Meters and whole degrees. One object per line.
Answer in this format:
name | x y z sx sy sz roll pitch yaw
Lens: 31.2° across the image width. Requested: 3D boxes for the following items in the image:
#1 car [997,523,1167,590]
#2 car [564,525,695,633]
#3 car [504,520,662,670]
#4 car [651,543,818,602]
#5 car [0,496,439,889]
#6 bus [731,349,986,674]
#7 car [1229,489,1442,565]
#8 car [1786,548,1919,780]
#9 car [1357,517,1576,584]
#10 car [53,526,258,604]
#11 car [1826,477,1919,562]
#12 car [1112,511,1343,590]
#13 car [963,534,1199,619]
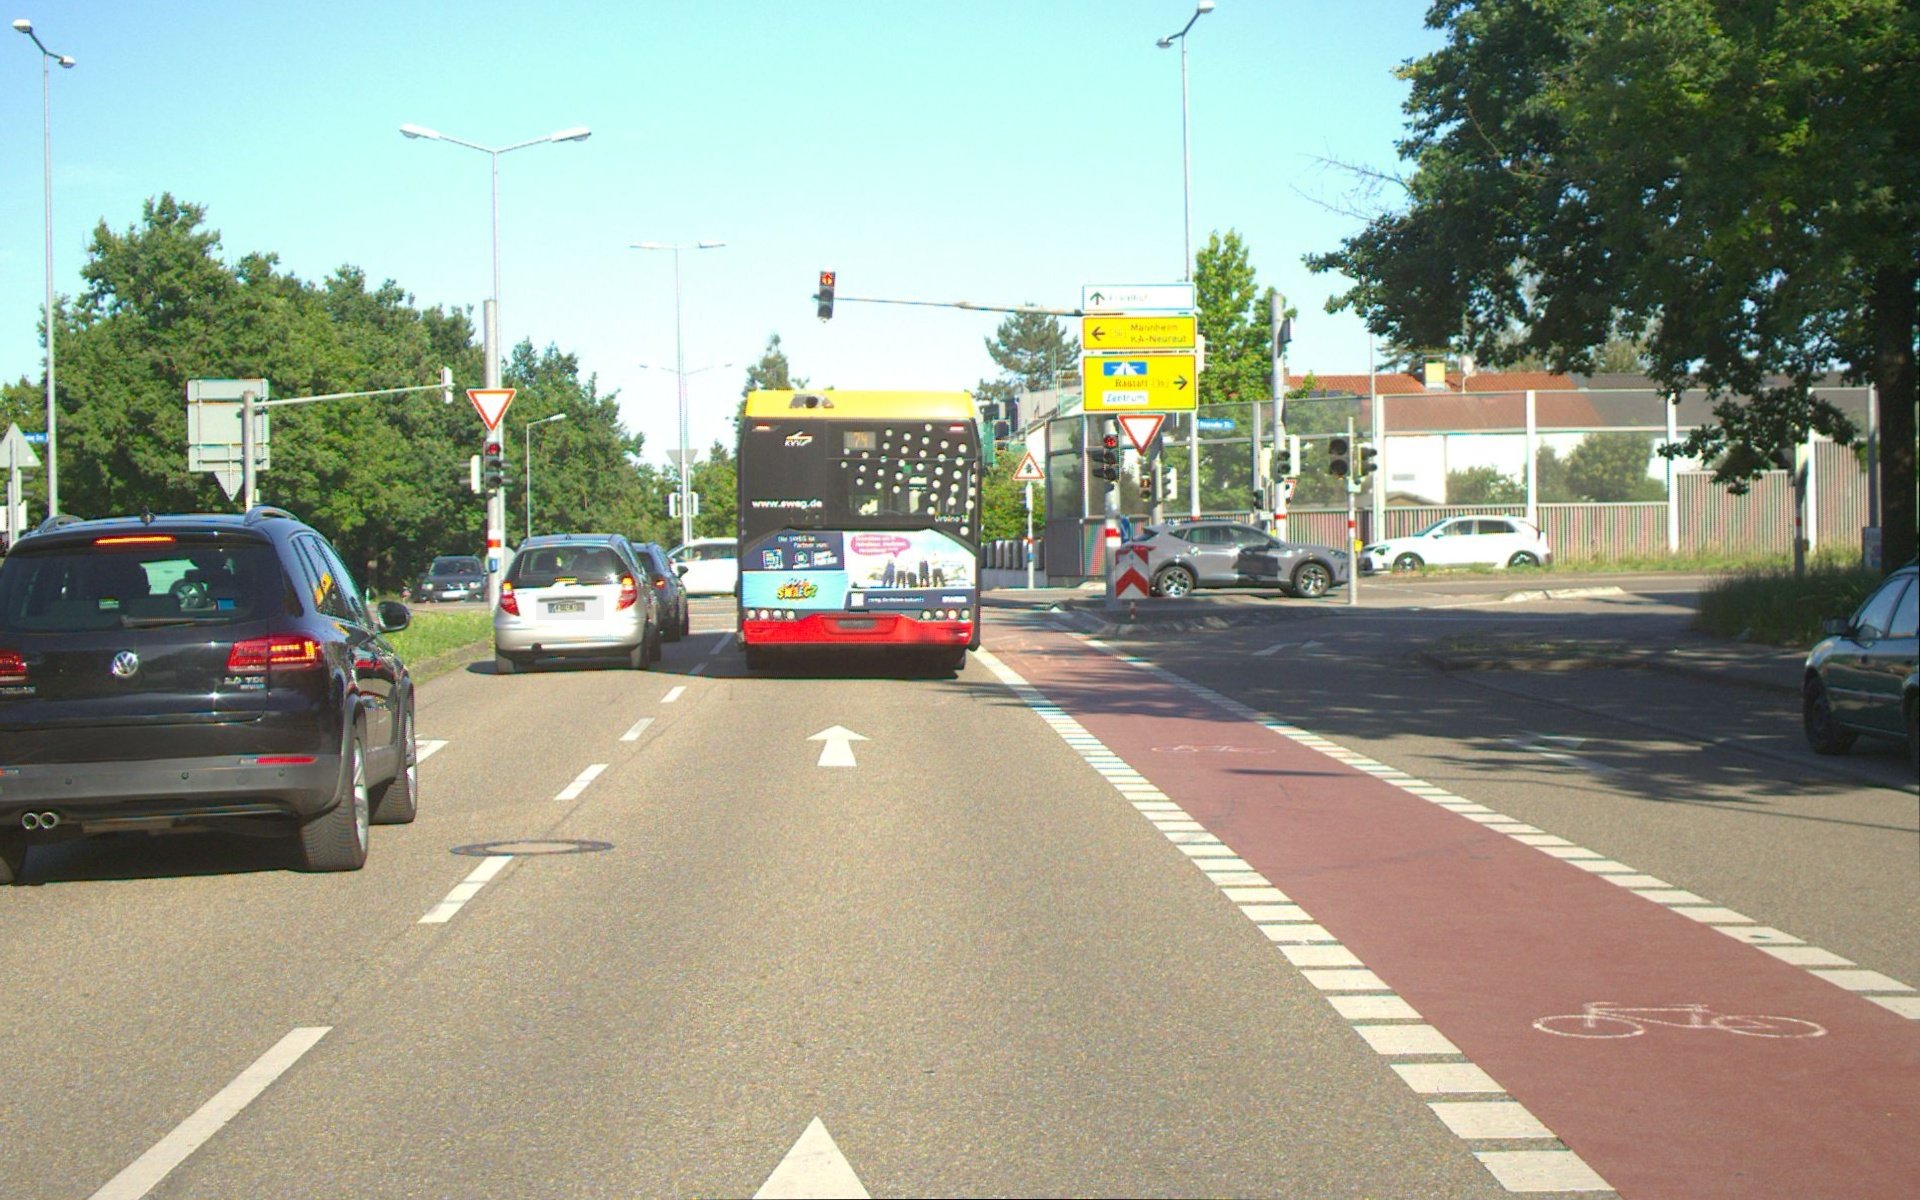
car | 3.021 -1.079 85.444 3.986 1.606 1.696 -1 1 -7
car | -4.745 -0.300 49.745 1.588 1.480 3.682 -1 0 -1
car | -4.524 -0.102 40.934 1.753 1.614 4.035 -1 2 -7
car | -5.345 -0.648 81.278 3.845 1.335 1.683 0 0 -6
car | -3.659 0.392 16.769 1.821 1.668 4.003 -1 0 -3
bus | -1.204 -1.029 41.437 2.596 3.323 11.985 1 1 -1
car | 7.985 -1.539 73.229 4.220 1.557 1.764 0 0 -6
car | 6.760 0.372 22.529 1.592 1.424 4.204 -2 1 -1
car | 11.808 -1.159 80.316 4.701 1.535 2.000 0 1 -5
car | -17.871 -0.768 76.428 4.382 1.677 1.712 0 0 -13
car | 15.645 -1.262 54.886 3.396 1.291 1.461 0 0 -26
car | 5.172 -0.951 66.796 4.220 1.475 1.764 0 0 -6
car | 1.899 -0.377 53.261 3.523 1.297 1.574 0 1 7
